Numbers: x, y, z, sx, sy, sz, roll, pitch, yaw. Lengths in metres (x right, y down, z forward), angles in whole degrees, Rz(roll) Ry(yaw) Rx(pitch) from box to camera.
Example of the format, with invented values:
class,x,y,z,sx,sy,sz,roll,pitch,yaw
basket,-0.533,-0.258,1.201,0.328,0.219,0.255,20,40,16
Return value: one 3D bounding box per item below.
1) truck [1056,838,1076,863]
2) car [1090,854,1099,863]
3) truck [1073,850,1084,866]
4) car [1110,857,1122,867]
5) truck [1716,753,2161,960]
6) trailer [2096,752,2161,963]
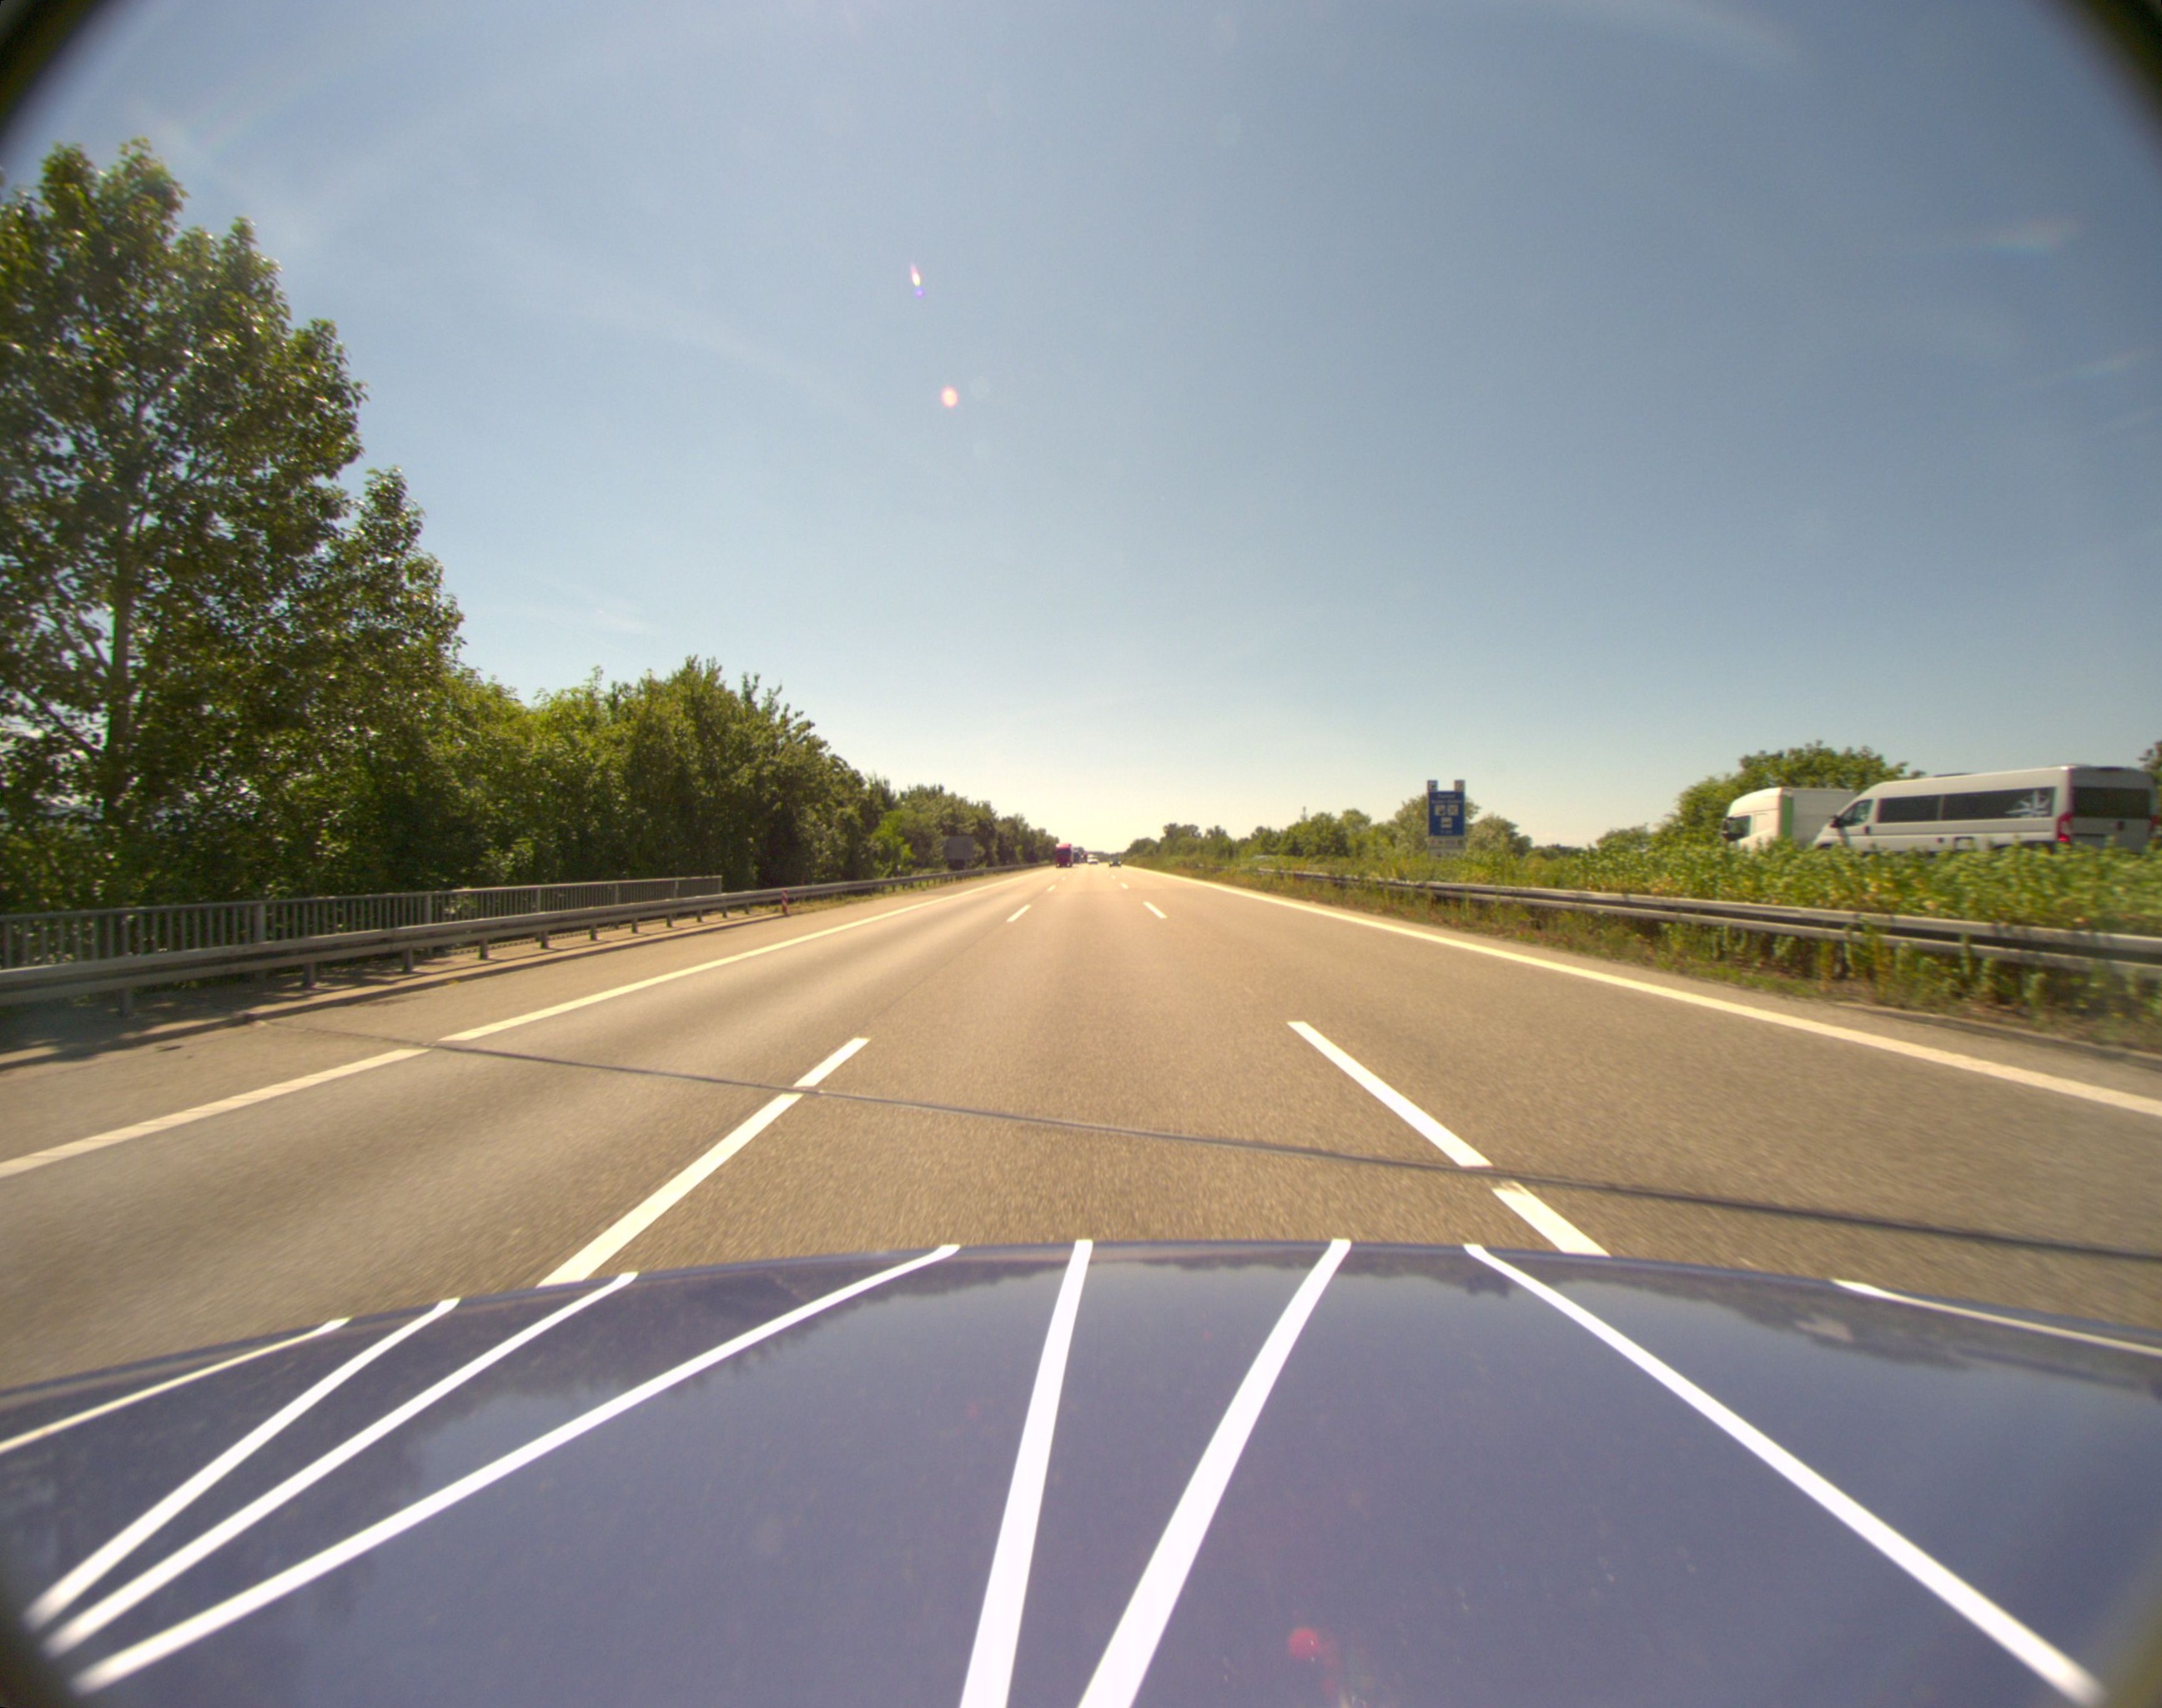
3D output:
class,x,y,z,sx,sy,sz,roll,pitch,yaw
truck,-2.458,-0.569,128.449,2.938,3.933,10.260,-2,0,1
car,2.964,1.043,168.396,1.998,2.002,4.756,-2,0,1
truck,-0.763,1.147,222.144,2.938,4.429,10.260,-2,0,1
car,5.454,1.292,118.354,1.736,1.433,4.000,-2,0,1
truck,21.764,0.018,19.444,2.924,3.967,9.623,-2,0,1
trailer,21.795,0.008,10.339,2.933,3.967,9.658,-2,0,0
